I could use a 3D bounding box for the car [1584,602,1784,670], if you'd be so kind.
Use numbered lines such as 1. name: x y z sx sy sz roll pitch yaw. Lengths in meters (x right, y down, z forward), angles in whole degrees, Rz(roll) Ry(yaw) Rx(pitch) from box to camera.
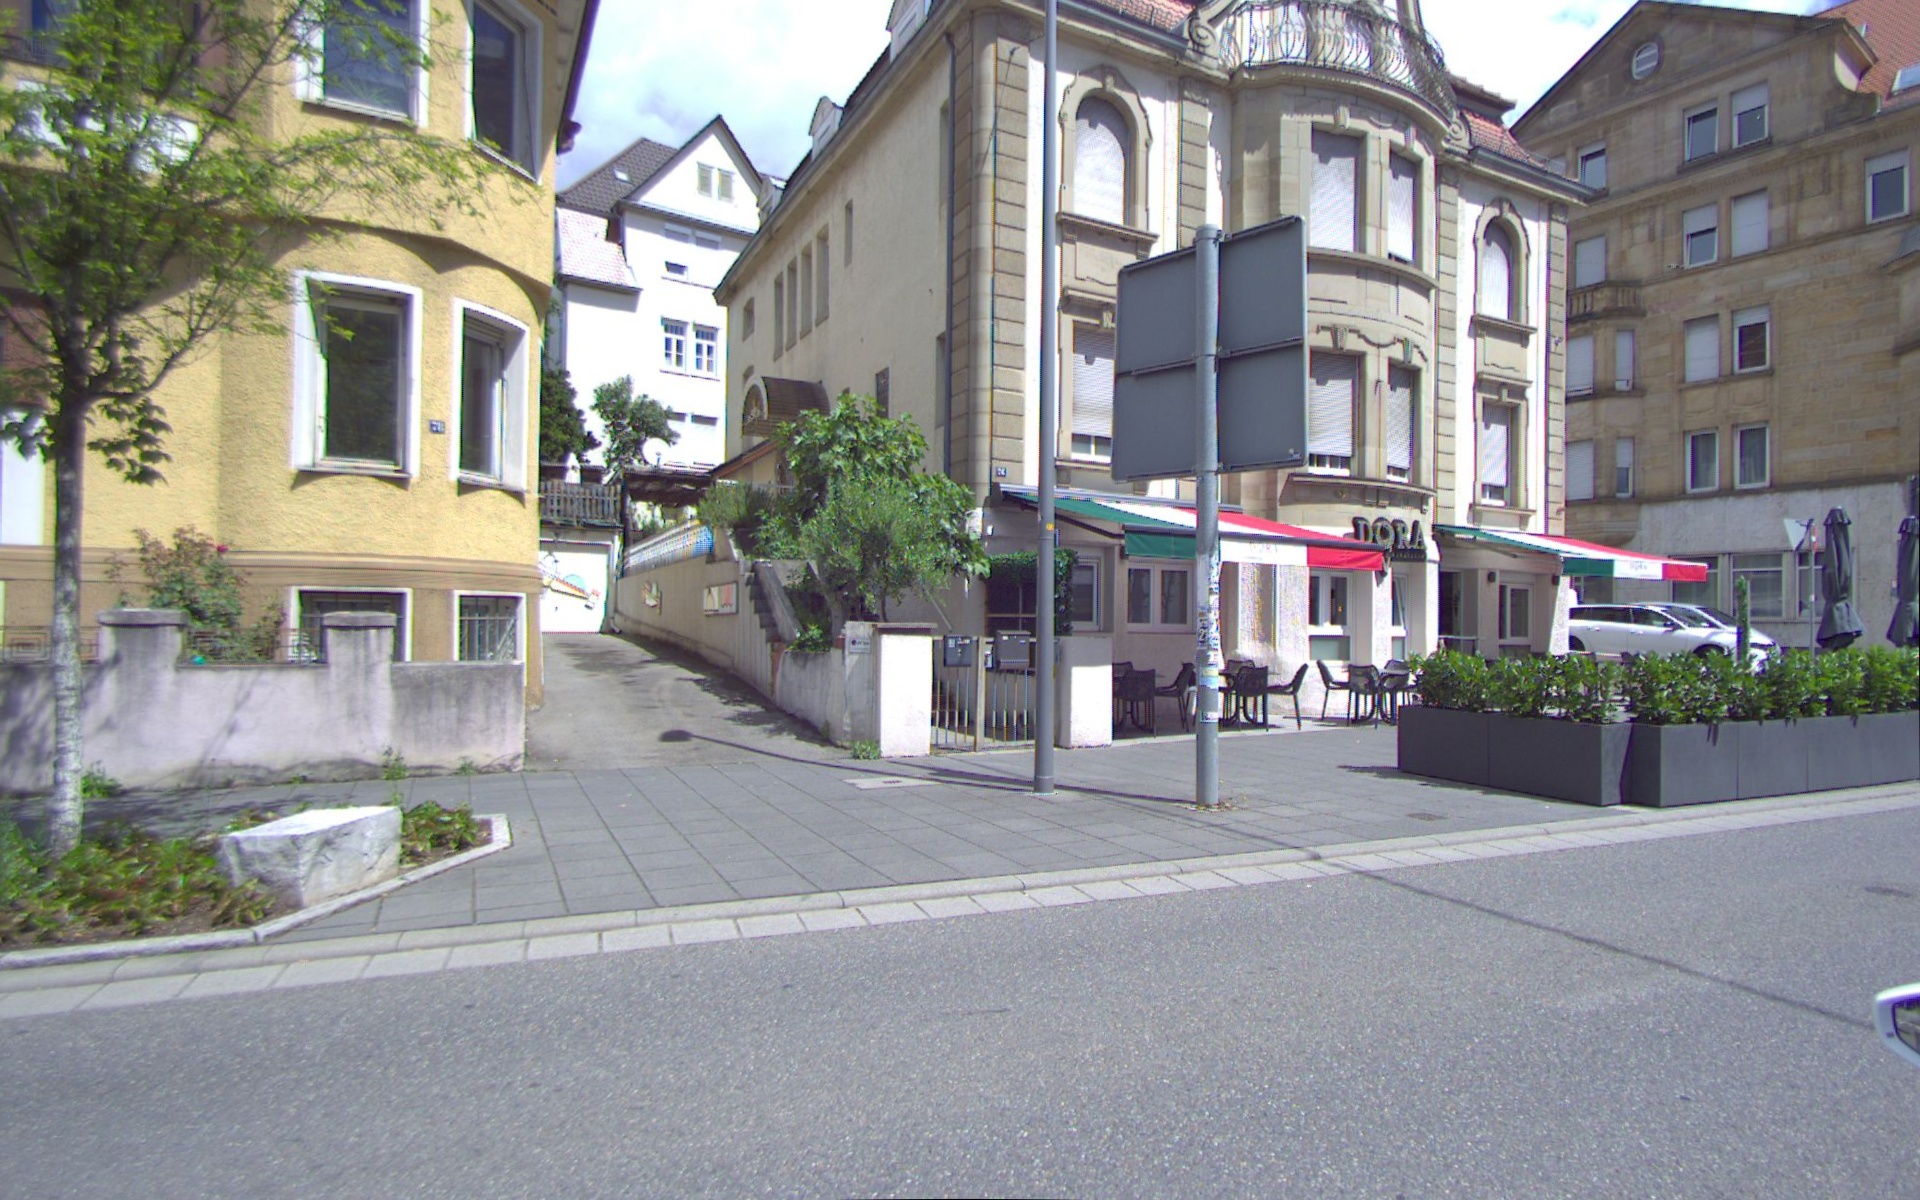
1. car: 19.282 0.909 26.921 1.887 1.684 3.967 1 -1 -31

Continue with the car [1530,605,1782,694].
1. car: 15.646 1.031 22.751 1.985 1.799 4.379 1 -1 -41
